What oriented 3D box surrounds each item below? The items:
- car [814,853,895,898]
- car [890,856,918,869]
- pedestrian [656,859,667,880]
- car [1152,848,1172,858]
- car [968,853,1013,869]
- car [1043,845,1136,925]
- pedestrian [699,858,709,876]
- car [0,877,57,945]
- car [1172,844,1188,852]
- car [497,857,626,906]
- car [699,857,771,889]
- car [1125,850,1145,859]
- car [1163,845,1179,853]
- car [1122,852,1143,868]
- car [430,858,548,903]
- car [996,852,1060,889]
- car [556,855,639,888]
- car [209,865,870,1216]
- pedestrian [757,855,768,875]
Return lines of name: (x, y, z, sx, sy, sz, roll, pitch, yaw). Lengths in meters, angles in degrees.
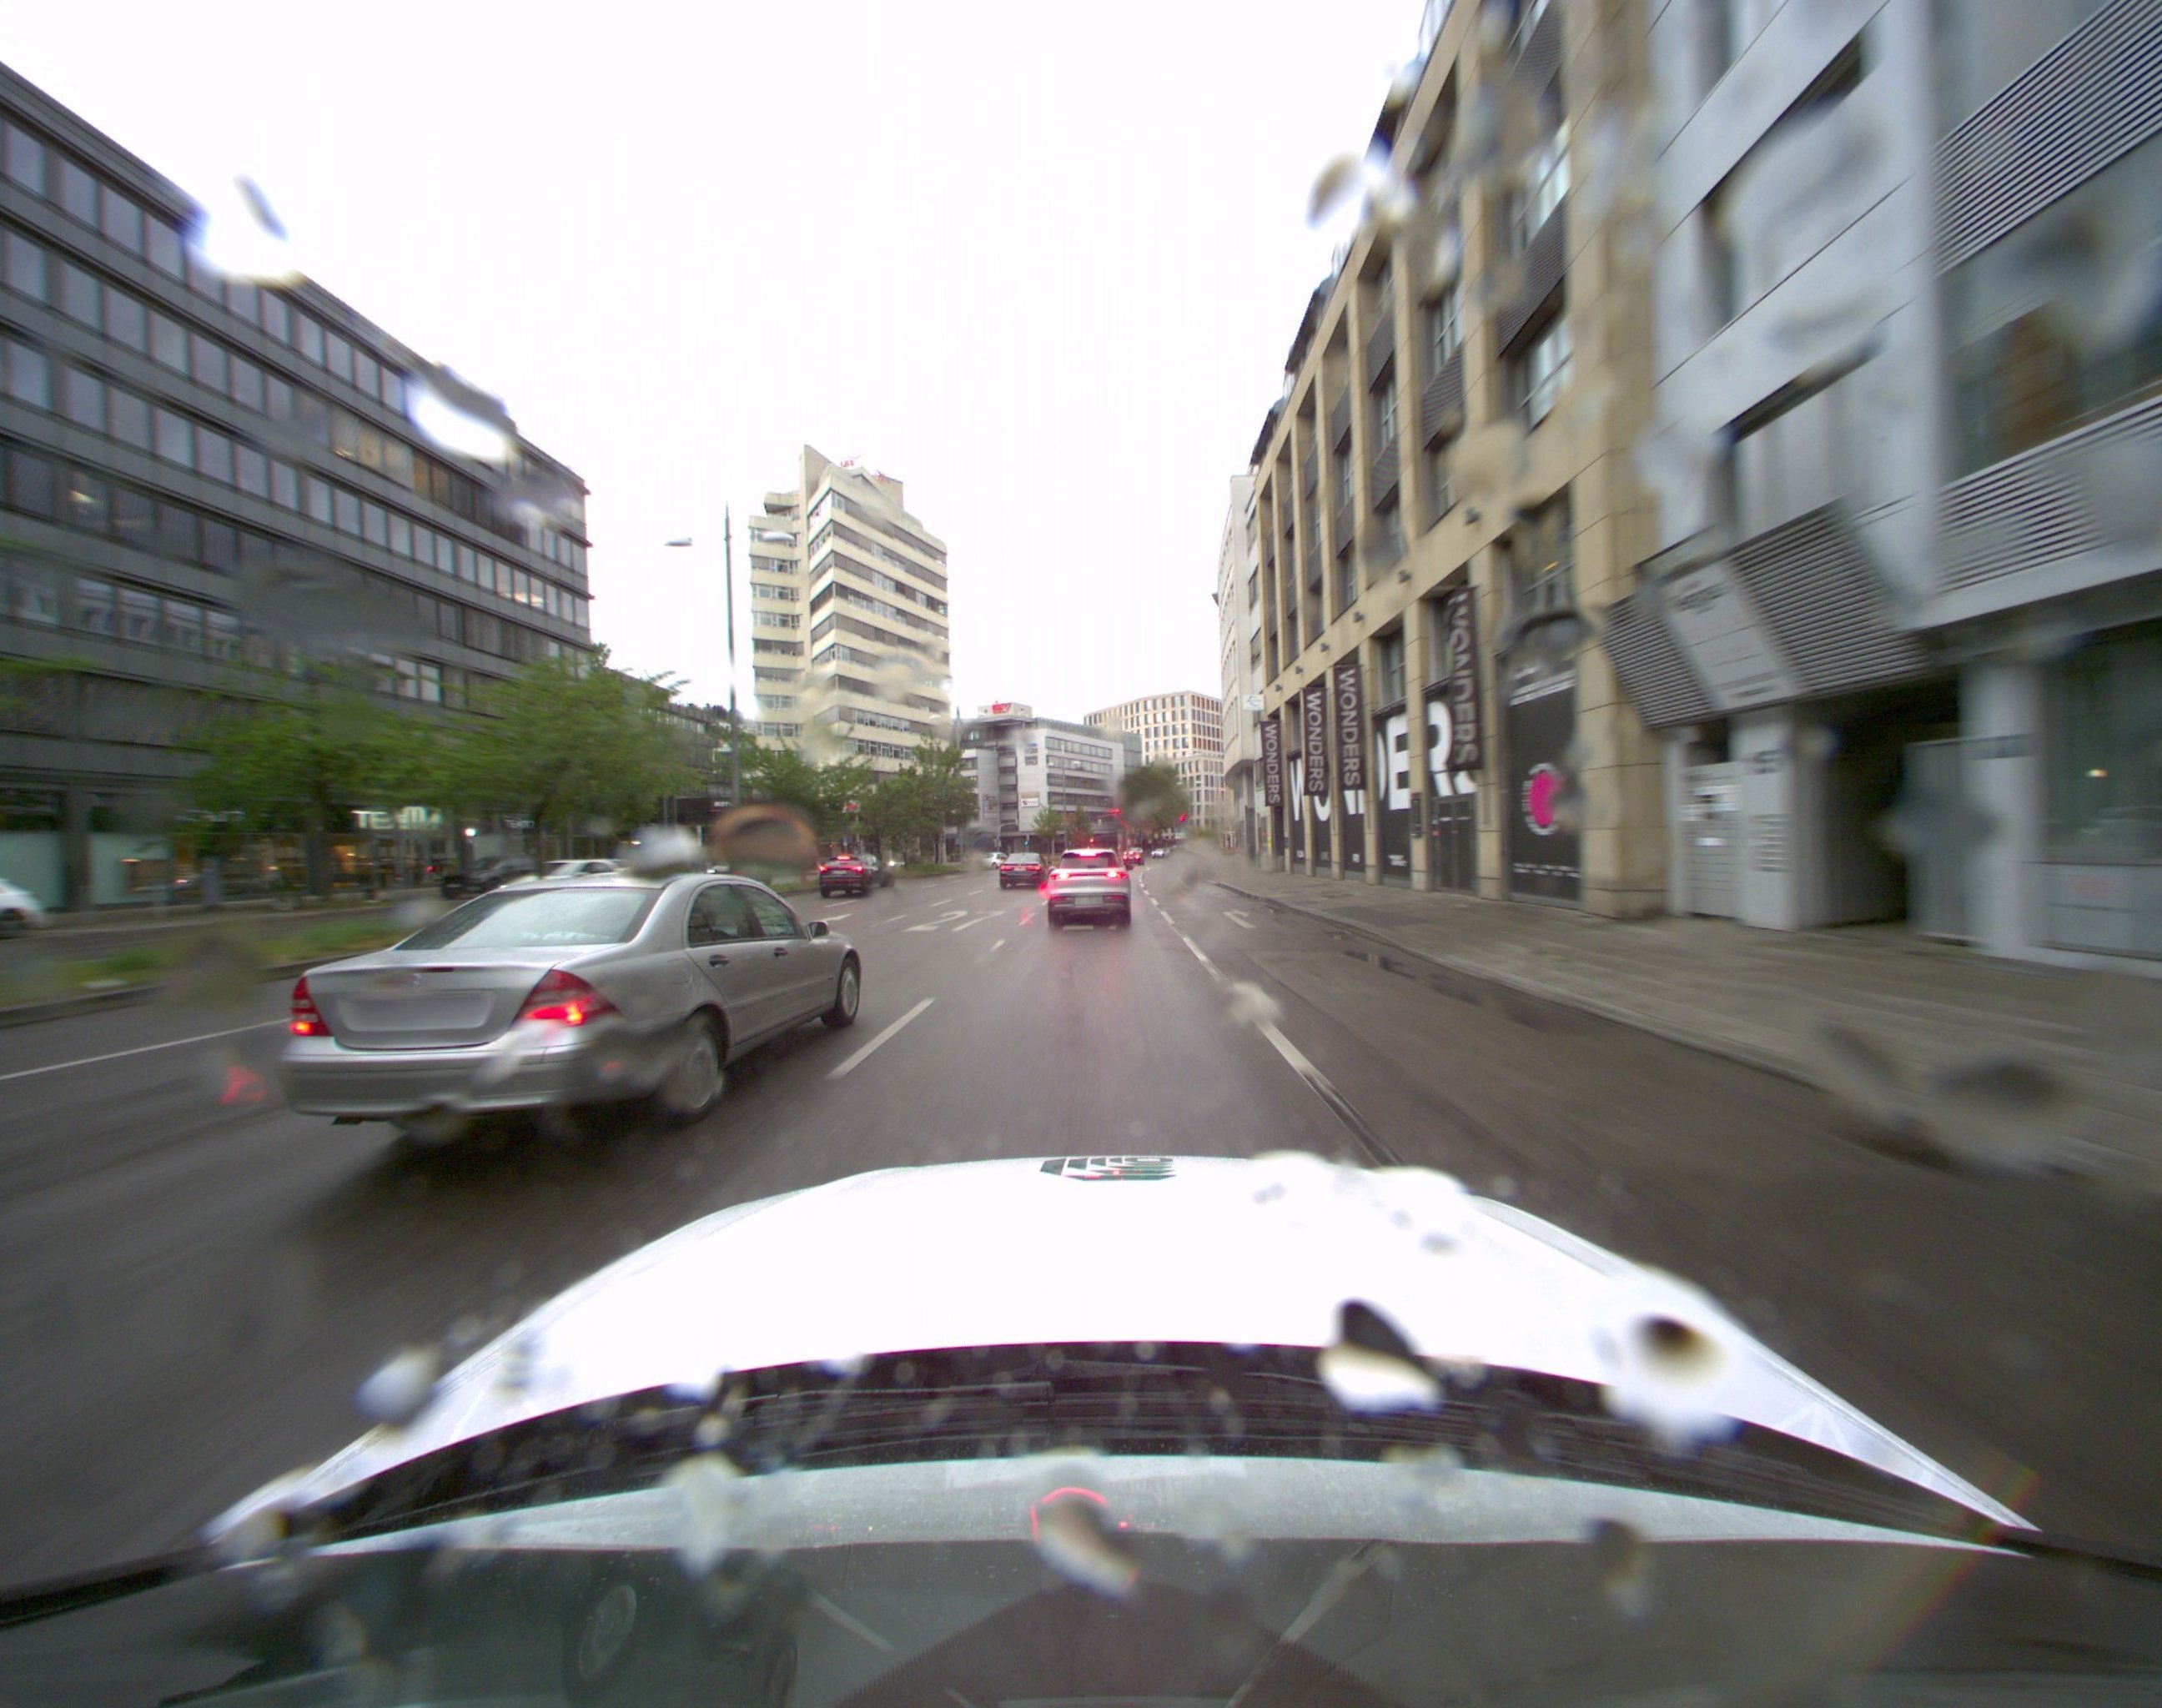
car: (-8.166, 0.743, 29.682, 1.768, 1.457, 4.000, -2, 0, 0)
car: (-16.914, 0.770, 77.921, 1.573, 1.090, 4.004, -2, 0, 4)
pedestrian: (-29.924, 1.094, 58.060, 0.606, 1.503, 0.432, -1, 0, -36)
car: (13.686, -0.219, 137.330, 1.565, 1.538, 4.026, -1, 0, 32)
car: (-8.182, 0.629, 73.239, 3.948, 1.342, 1.669, -1, 0, 39)
car: (0.236, 0.639, 18.935, 1.894, 1.621, 4.002, -1, 0, 2)
pedestrian: (-32.925, 1.152, 71.127, 0.670, 1.503, 0.432, -1, 0, -36)
car: (-23.868, 1.242, 16.090, 1.618, 1.432, 4.445, -2, 0, 0)
car: (20.858, -1.297, 171.844, 1.839, 1.736, 4.026, -1, 0, 32)
car: (-17.650, 0.879, 27.938, 1.618, 1.492, 4.306, -2, 0, 0)
car: (-17.372, 0.925, 41.102, 1.617, 1.453, 4.165, -2, 0, 3)
car: (9.623, 0.036, 144.404, 1.565, 1.538, 4.026, -1, 0, 34)
car: (18.231, -1.081, 164.484, 1.565, 1.538, 4.026, -1, 0, 32)
car: (5.618, 0.616, 88.271, 1.800, 1.578, 4.012, -1, 0, 11)
car: (-23.523, 0.988, 32.585, 1.618, 1.611, 4.231, 0, 0, 0)
car: (-2.239, 0.667, 35.866, 1.862, 1.479, 4.888, -1, 0, 7)
car: (-23.247, 0.790, 39.349, 1.618, 1.460, 3.962, 0, 0, 0)
car: (-2.974, 0.858, 5.793, 1.666, 1.479, 4.362, -1, 0, 2)
pedestrian: (-28.156, 0.994, 72.081, 0.757, 1.713, 0.587, -1, 0, -36)
